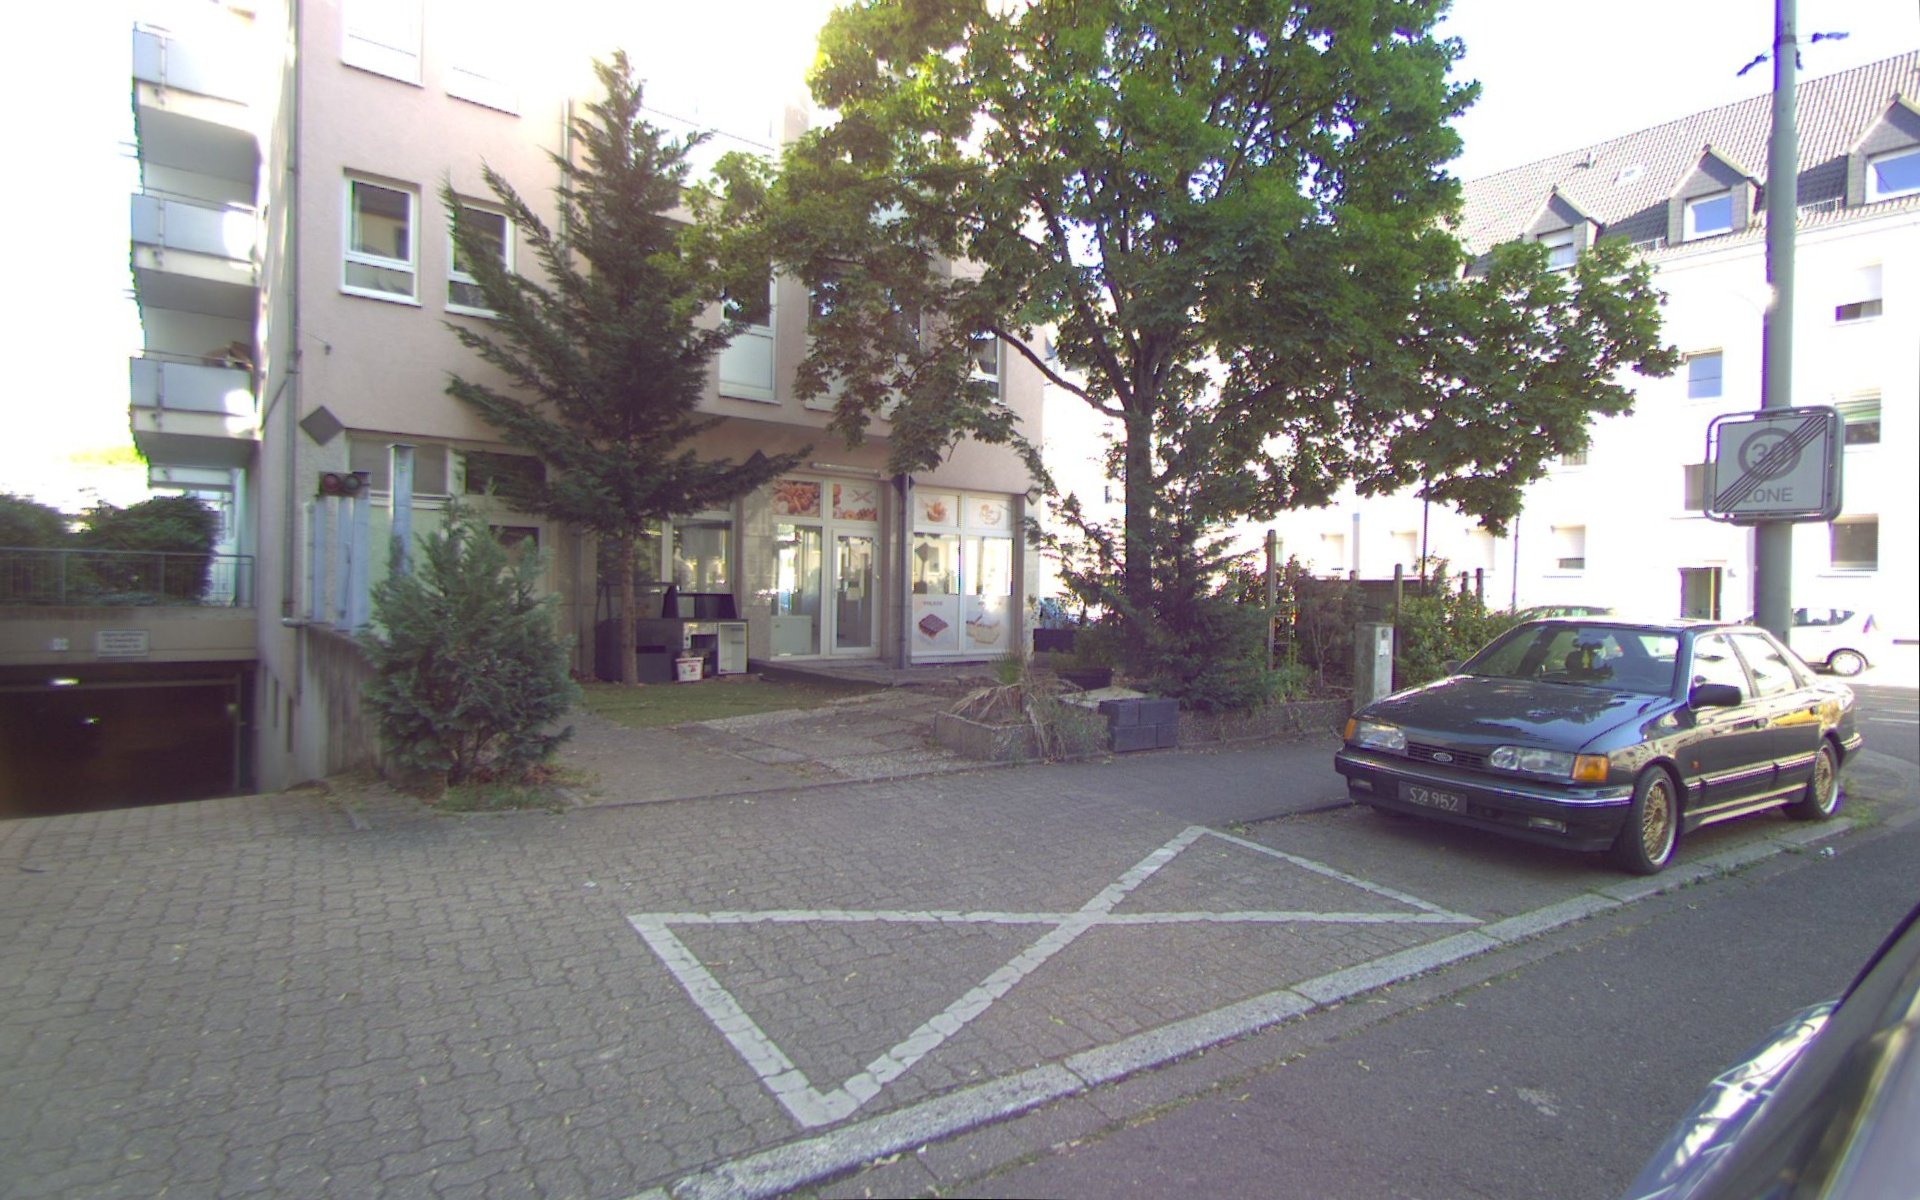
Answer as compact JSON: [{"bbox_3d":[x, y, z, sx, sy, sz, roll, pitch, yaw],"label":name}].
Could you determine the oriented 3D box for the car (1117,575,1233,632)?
[{"bbox_3d":[8.050,0.080,38.165,1.760,1.995,4.151,-2,2,-38],"label":"car"}]

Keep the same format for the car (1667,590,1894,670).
[{"bbox_3d":[19.265,0.621,23.905,1.729,1.590,3.901,-4,4,-38],"label":"car"}]

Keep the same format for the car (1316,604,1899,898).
[{"bbox_3d":[4.641,0.766,7.032,4.481,1.405,1.715,0,2,-33],"label":"car"}]
